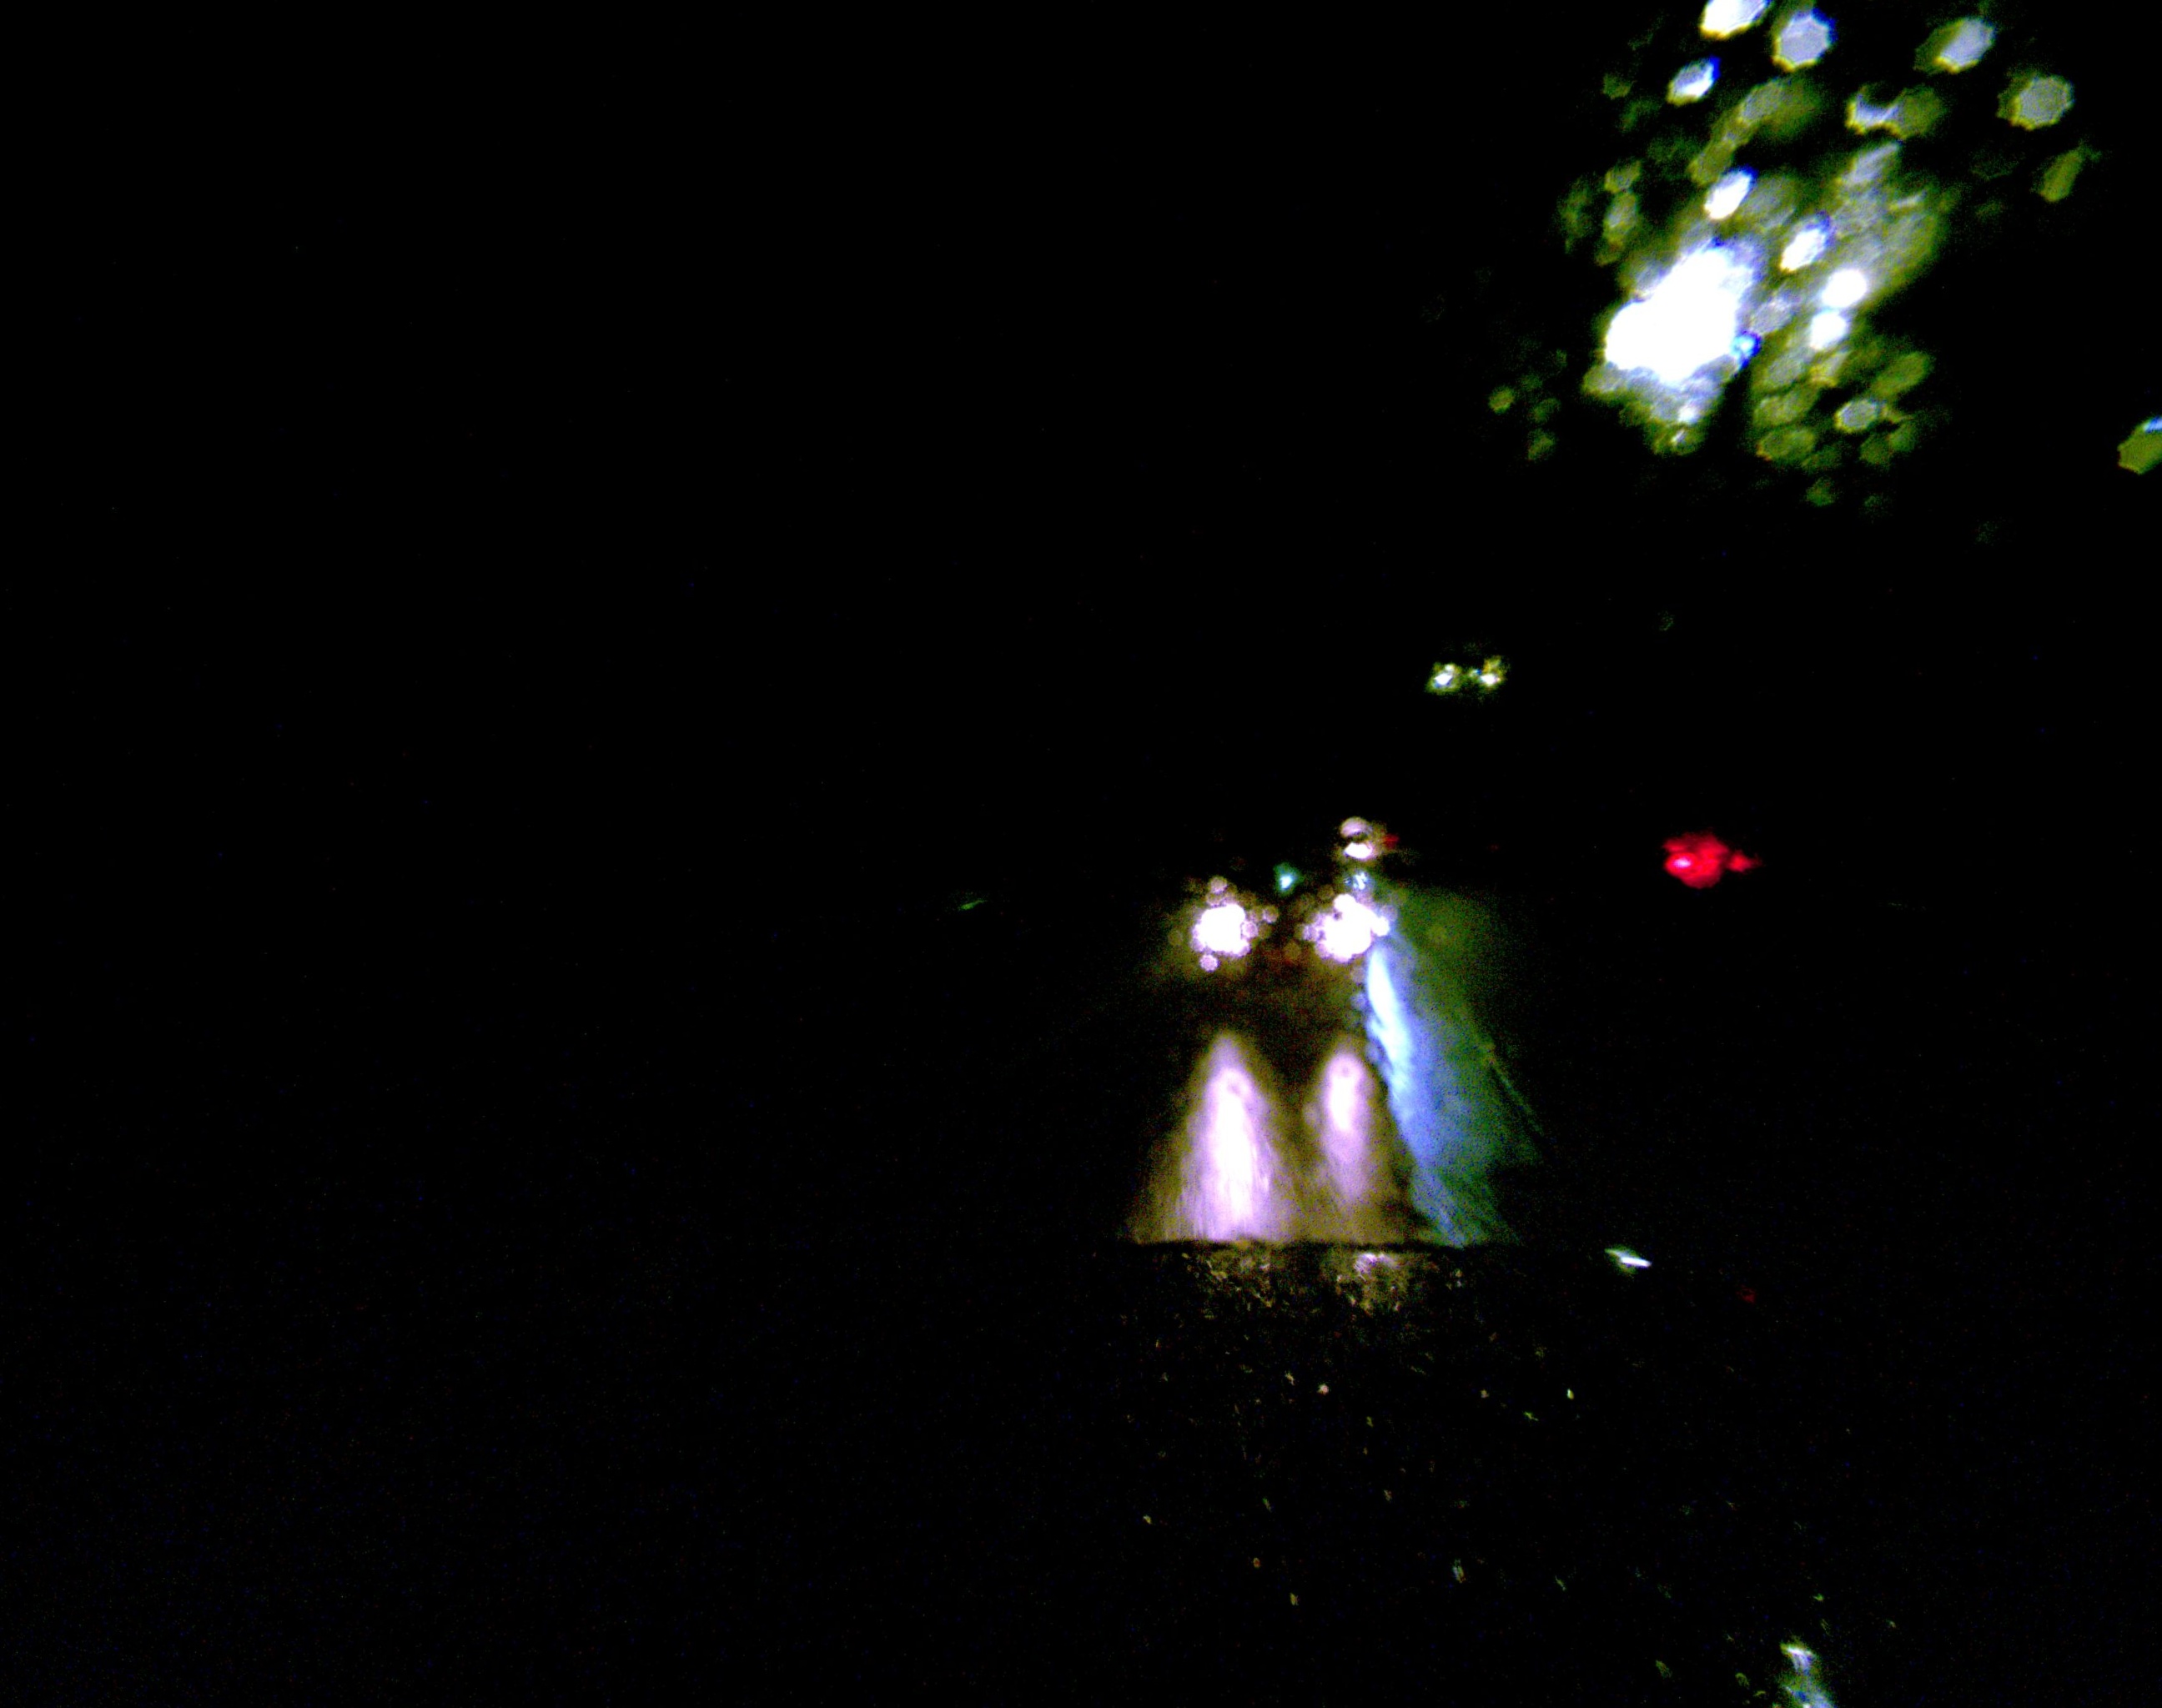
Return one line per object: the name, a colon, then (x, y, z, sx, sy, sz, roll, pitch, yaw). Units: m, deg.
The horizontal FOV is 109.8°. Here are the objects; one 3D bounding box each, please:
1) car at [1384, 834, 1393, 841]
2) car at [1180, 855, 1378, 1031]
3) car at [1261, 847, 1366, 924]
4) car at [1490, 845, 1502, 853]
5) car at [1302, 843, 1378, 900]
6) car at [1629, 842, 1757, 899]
car: (75.616, -4.096, 186.630, 1.785, 1.638, 4.005, -1, 1, 19)
car: (2.471, 0.812, 8.955, 1.762, 1.492, 4.005, -1, 1, 19)
car: (5.269, 0.600, 16.985, 1.995, 1.455, 4.005, 0, 1, 19)
car: (91.630, -1.111, 167.906, 1.864, 1.638, 4.006, -1, 1, 22)
car: (7.756, 0.457, 22.742, 1.995, 1.531, 4.005, 0, 1, 19)
car: (18.437, 0.425, 23.124, 1.753, 1.543, 4.015, 0, 1, 19)
